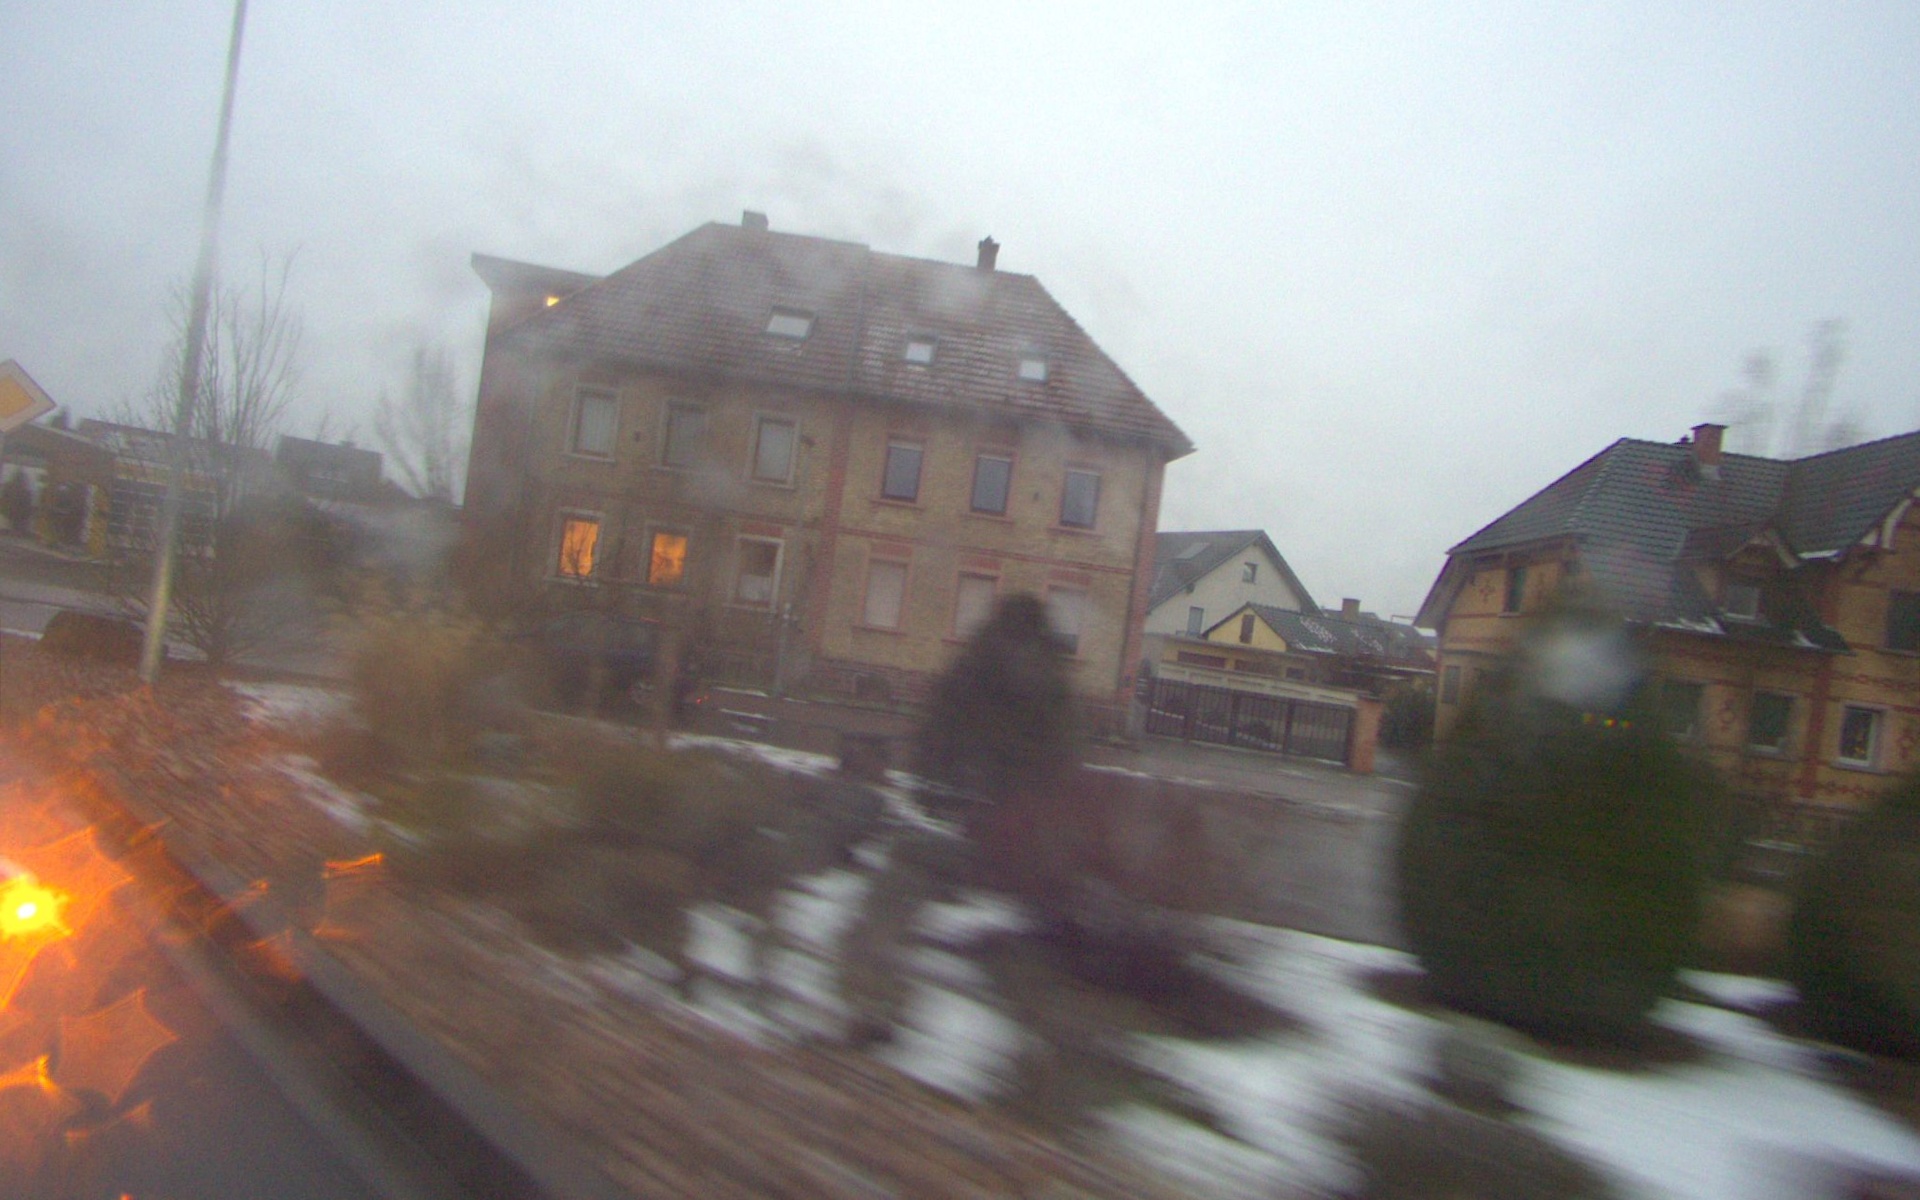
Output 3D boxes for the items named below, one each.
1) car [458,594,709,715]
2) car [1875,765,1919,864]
[{"bbox_3d":[-6.167,0.892,16.702,3.515,1.399,1.287,9,-2,0],"label":"car"},{"bbox_3d":[22.396,4.802,20.426,5.232,1.888,2.368,7,0,1],"label":"car"}]
